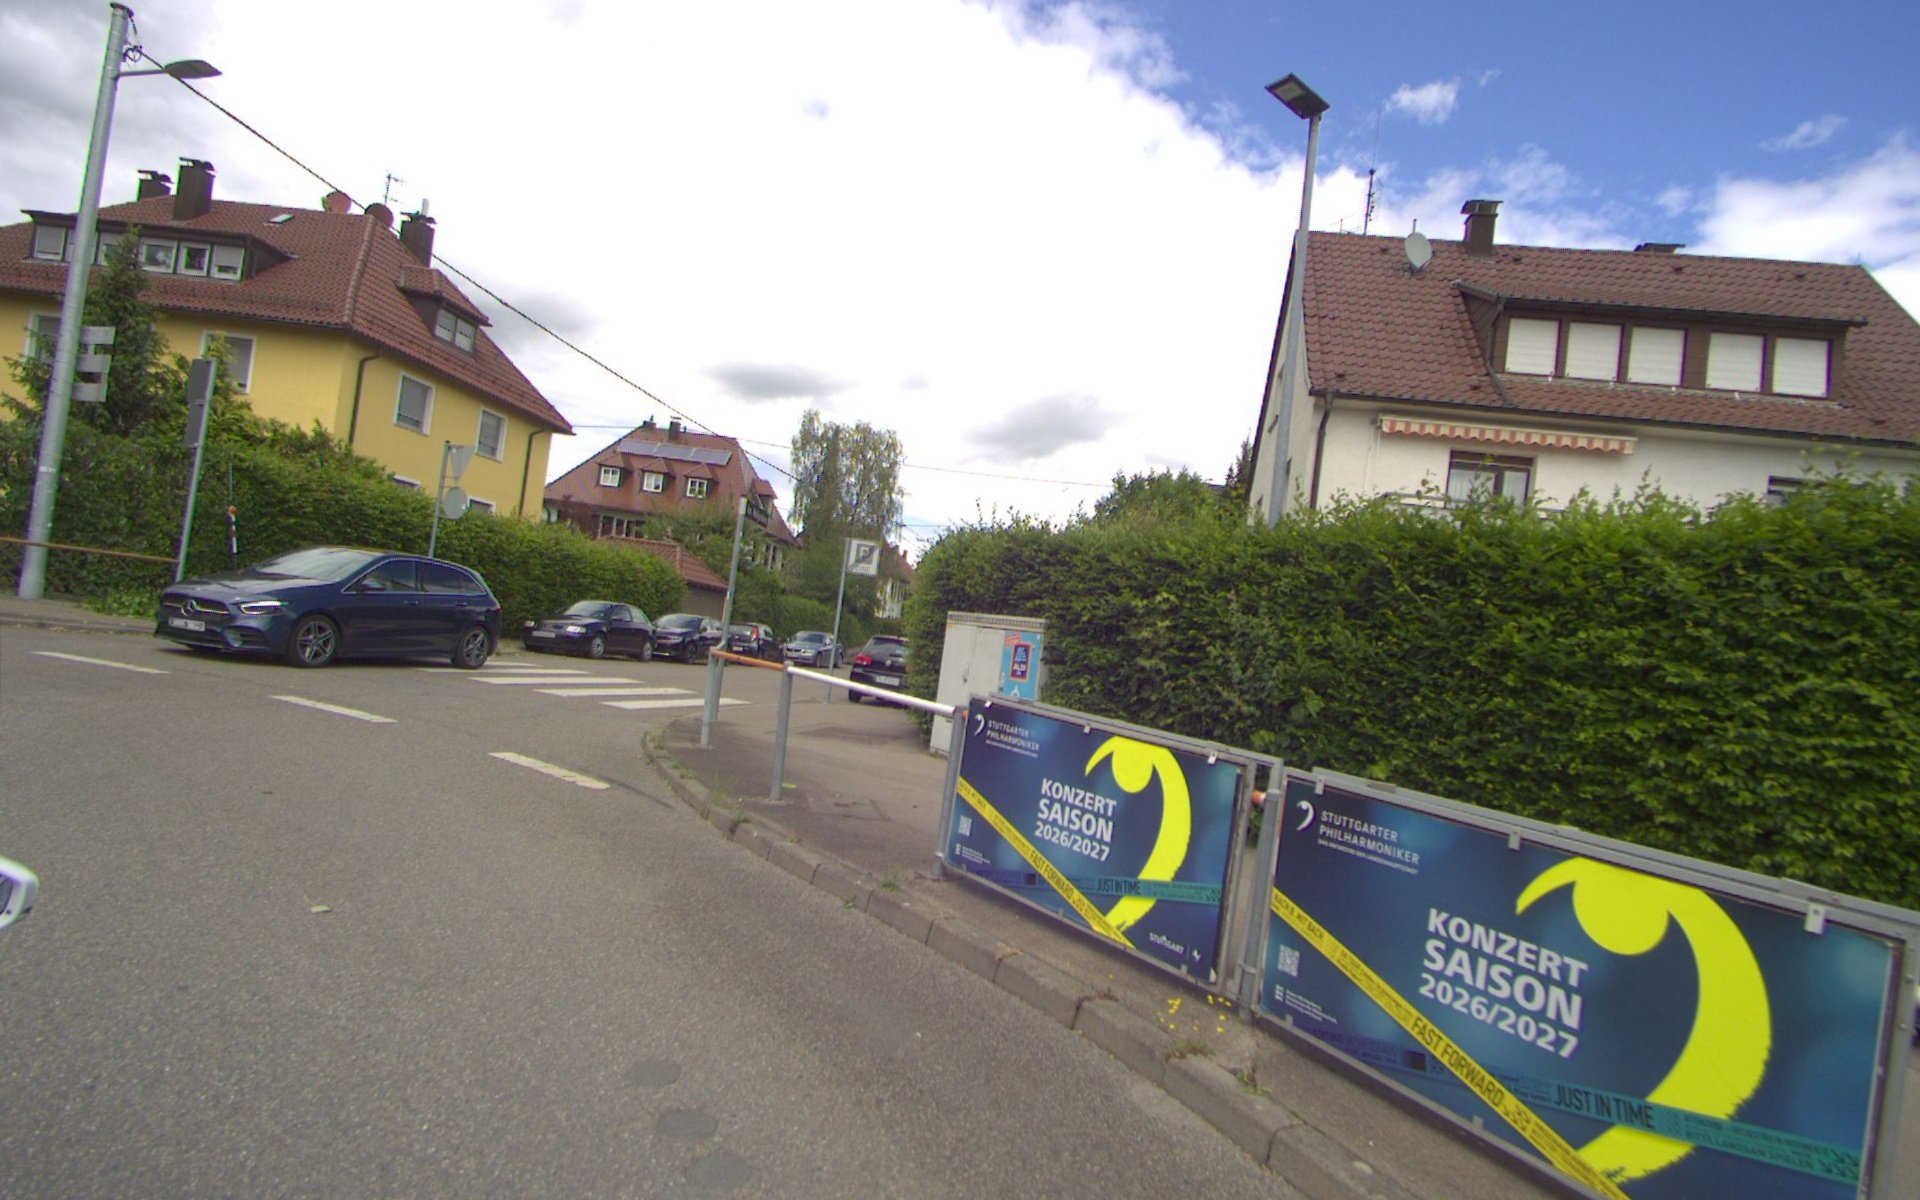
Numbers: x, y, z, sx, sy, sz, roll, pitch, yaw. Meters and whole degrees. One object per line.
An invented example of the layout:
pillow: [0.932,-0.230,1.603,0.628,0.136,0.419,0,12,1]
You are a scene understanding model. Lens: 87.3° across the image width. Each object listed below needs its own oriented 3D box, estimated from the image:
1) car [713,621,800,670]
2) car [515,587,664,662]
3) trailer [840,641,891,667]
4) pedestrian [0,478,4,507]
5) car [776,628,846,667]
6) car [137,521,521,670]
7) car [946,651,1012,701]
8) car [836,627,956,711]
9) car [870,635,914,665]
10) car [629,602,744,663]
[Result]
car: [-6.989,1.591,34.962,1.521,1.419,3.859,8,-1,10]
car: [-8.771,0.647,24.163,1.521,1.362,3.793,8,-3,10]
trailer: [-4.708,2.723,50.673,1.588,1.139,3.727,5,-2,10]
pedestrian: [-13.840,-0.929,13.928,0.649,1.676,0.588,8,-1,-38]
car: [-5.972,1.927,40.841,1.569,1.355,3.918,5,-2,10]
car: [-7.993,0.079,13.333,1.553,1.465,4.326,8,-2,13]
car: [0.679,2.529,33.871,1.540,1.383,3.443,8,-1,10]
car: [-1.324,1.556,22.244,1.676,1.470,3.624,8,-3,10]
car: [-3.776,2.814,56.408,1.521,1.502,3.569,5,-2,10]
car: [-7.765,0.964,28.926,1.521,1.419,3.859,8,-1,10]
